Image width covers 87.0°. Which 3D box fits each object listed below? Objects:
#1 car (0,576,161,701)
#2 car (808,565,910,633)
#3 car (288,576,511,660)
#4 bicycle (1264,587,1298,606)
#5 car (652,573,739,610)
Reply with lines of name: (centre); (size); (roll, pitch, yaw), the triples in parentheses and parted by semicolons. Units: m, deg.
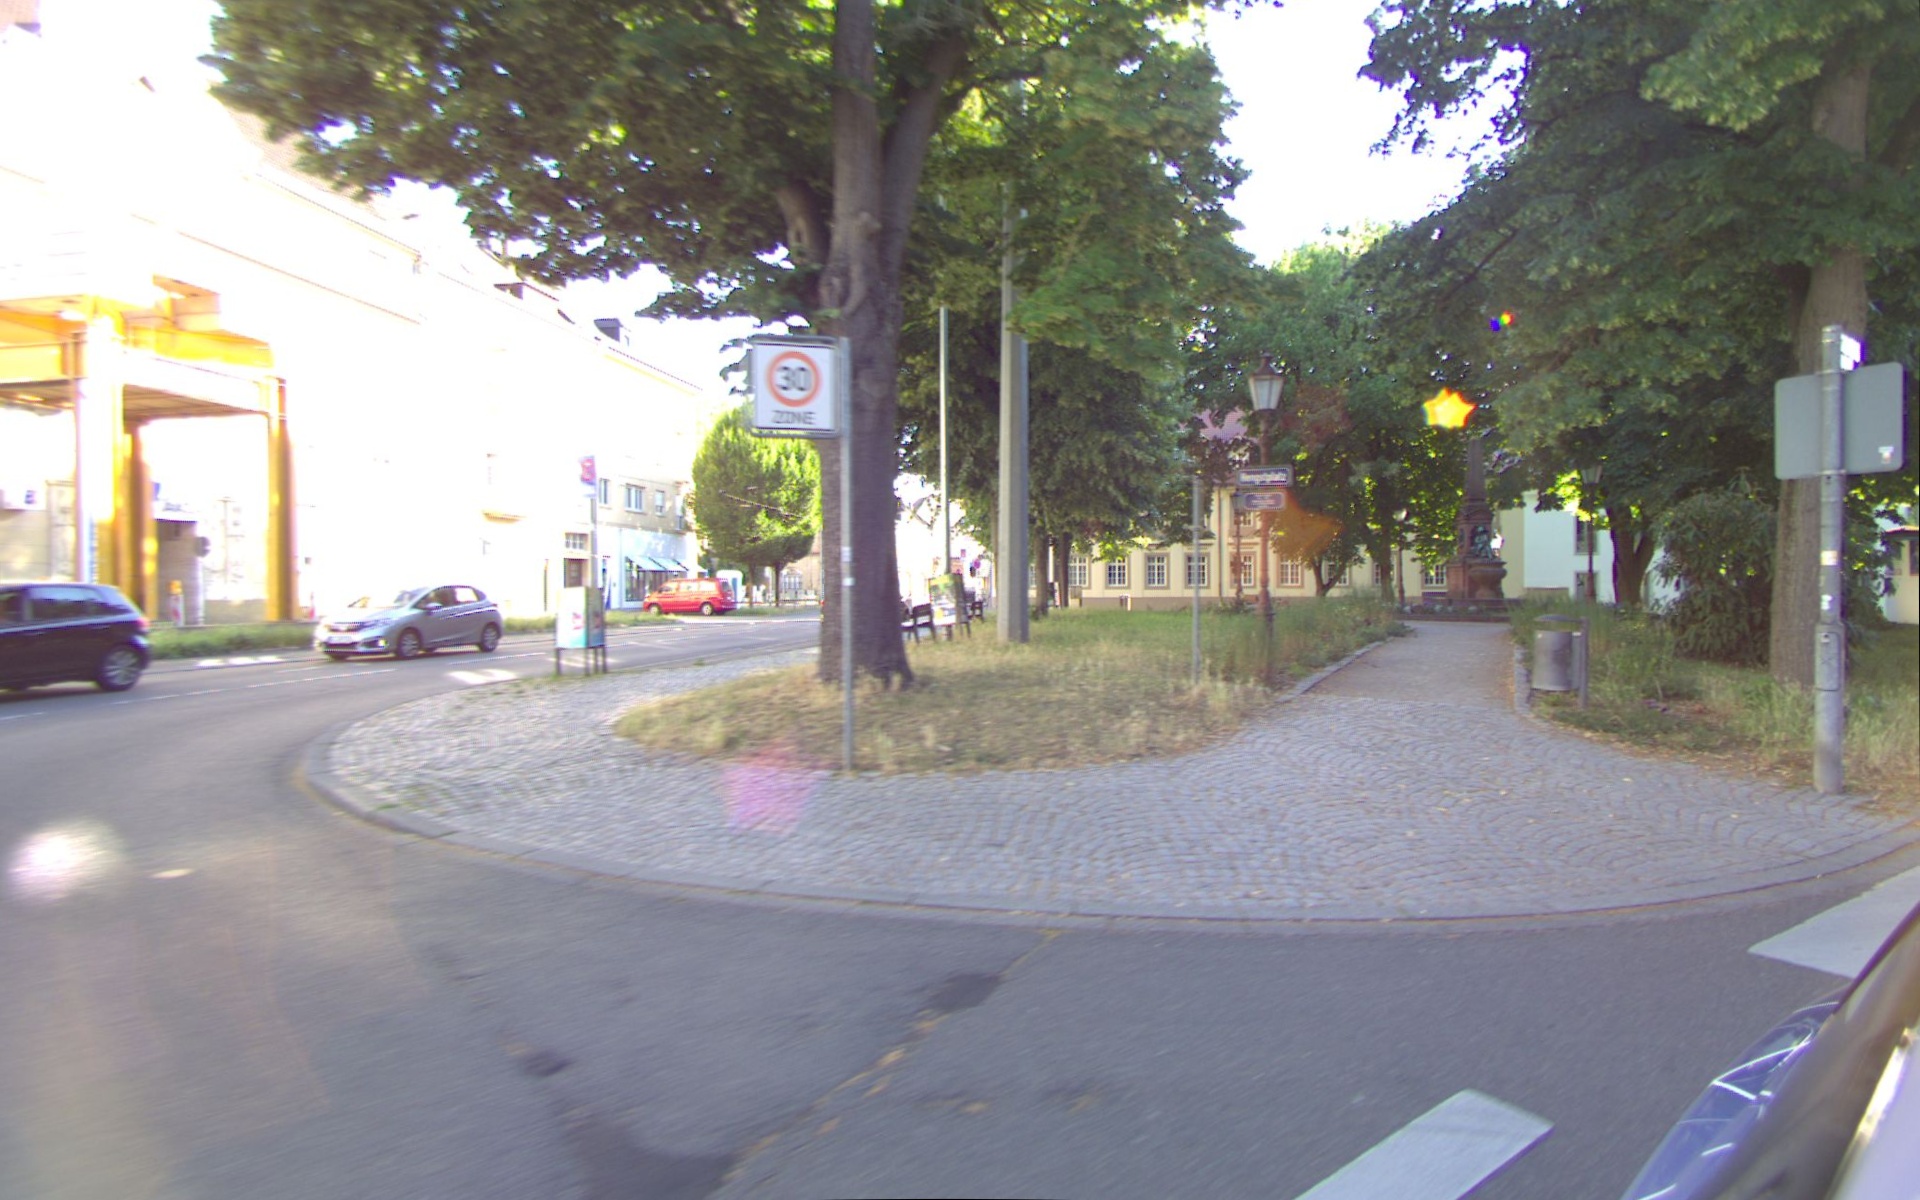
car: (-12.223, 0.449, 12.096); (1.965, 1.463, 4.066); (0, 0, 5)
car: (-2.902, -0.062, 30.024); (1.968, 1.816, 3.989); (-2, 1, 10)
car: (-11.282, 0.327, 20.741); (1.967, 1.538, 4.062); (0, 0, 8)
bicycle: (17.549, -0.190, 55.330); (1.738, 1.045, 0.719); (1, 1, 15)
car: (-13.896, -0.439, 53.223); (4.003, 1.945, 1.996); (0, 0, 8)
